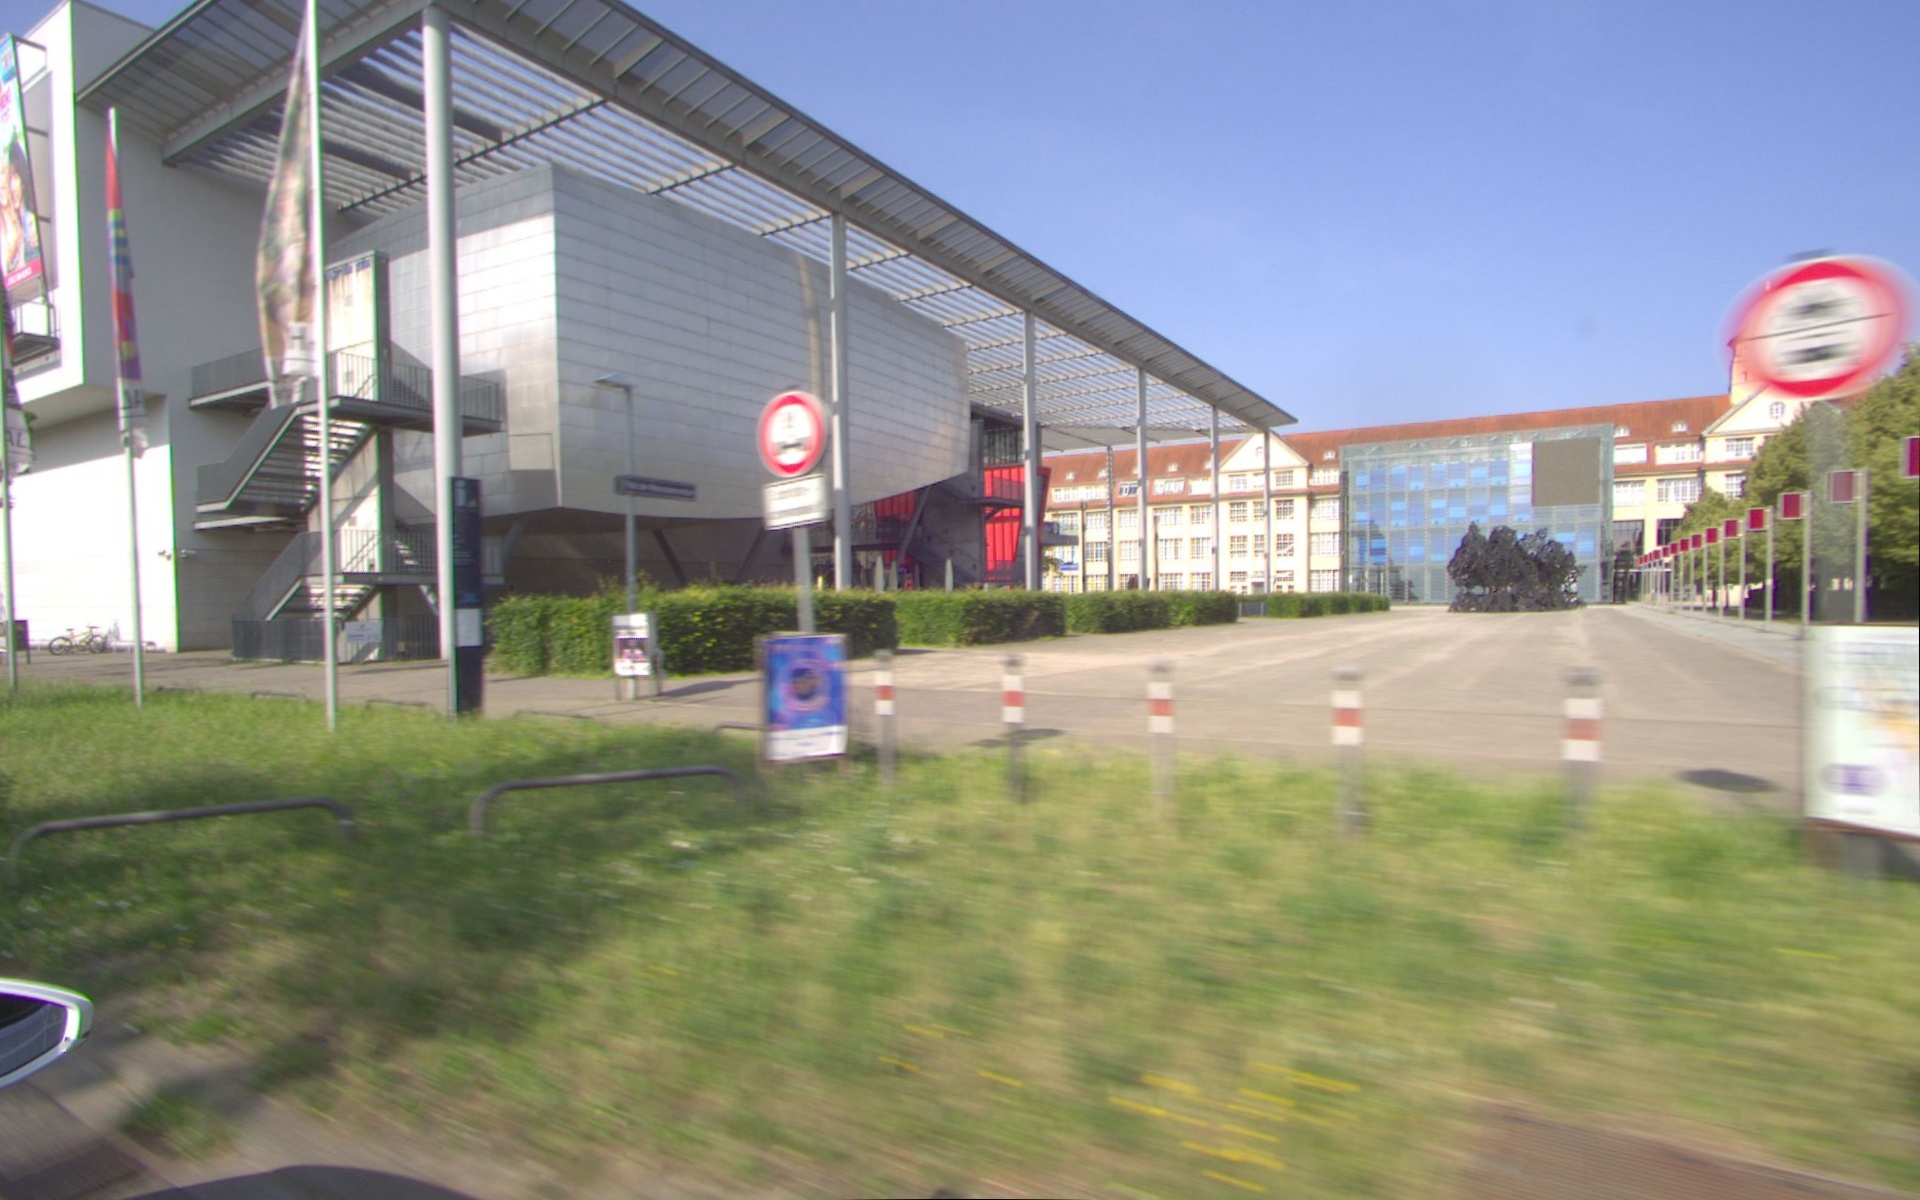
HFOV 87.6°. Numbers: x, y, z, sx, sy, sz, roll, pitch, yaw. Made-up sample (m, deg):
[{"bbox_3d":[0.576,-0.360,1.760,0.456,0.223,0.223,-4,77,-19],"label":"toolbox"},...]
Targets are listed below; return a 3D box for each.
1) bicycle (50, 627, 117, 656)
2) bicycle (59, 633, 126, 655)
[{"bbox_3d":[-30.202,1.413,34.522,0.476,0.927,1.654,0,0,32],"label":"bicycle"},{"bbox_3d":[-29.568,1.482,34.144,0.530,0.653,1.653,-1,0,32],"label":"bicycle"}]
